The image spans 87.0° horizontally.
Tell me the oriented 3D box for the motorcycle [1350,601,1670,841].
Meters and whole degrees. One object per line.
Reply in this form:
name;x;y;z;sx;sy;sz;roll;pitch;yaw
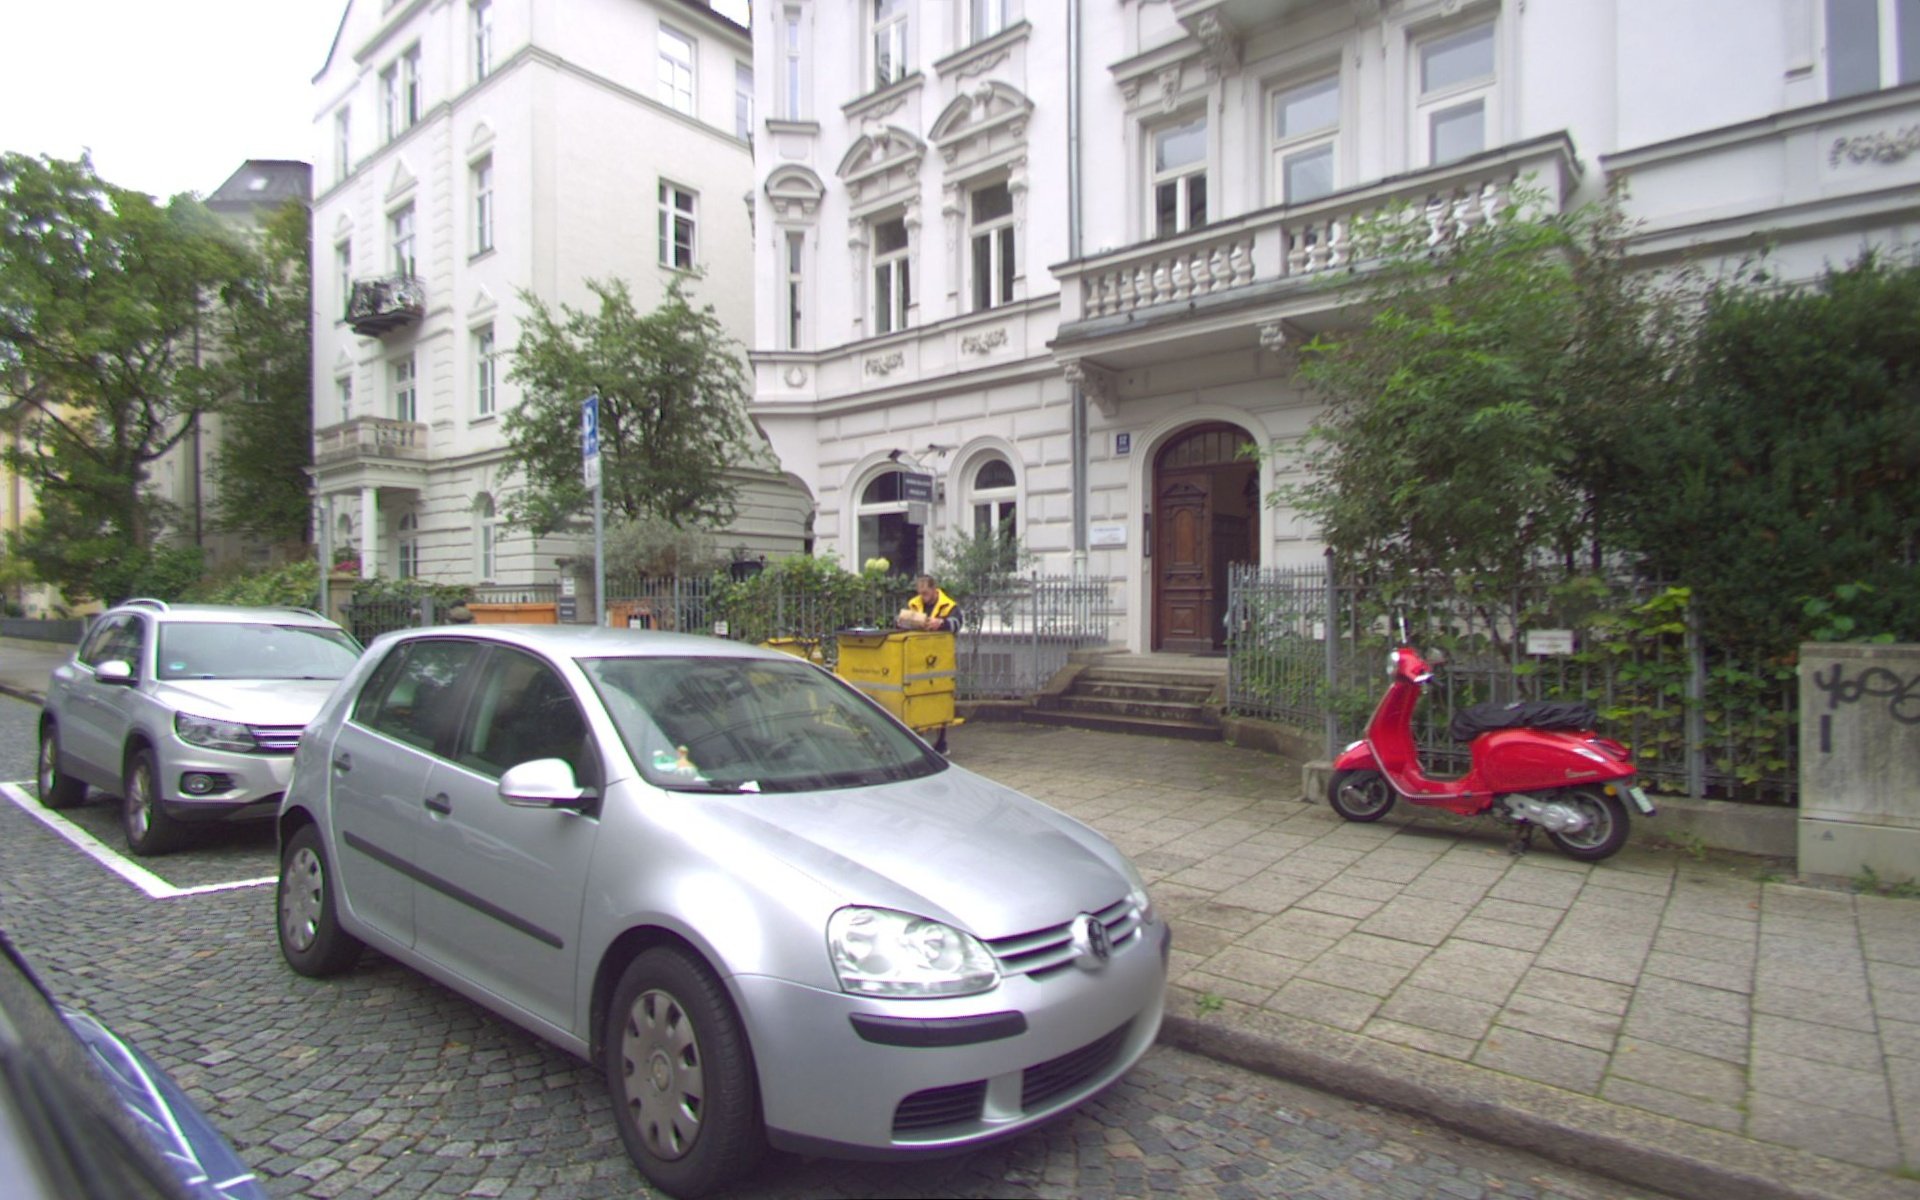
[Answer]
motorcycle;3.062;0.605;5.799;0.326;1.188;1.629;-1;0;-35

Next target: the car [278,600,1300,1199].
car;-0.912;0.723;3.760;3.811;1.404;1.616;-1;0;38

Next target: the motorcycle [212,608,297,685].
motorcycle;-14.220;0.904;20.388;2.242;1.439;0.729;-1;1;37

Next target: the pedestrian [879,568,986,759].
pedestrian;-0.258;0.560;9.314;0.569;1.659;0.822;0;-1;-43

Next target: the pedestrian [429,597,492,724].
pedestrian;-6.684;0.791;13.572;0.655;1.640;0.671;-1;0;-18

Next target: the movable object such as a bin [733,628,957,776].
movable object such as a bin;-1.173;0.887;9.633;0.635;1.174;2.655;-1;0;-44

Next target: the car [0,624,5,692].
car;-22.637;1.193;22.164;4.804;1.430;1.862;-1;-3;39

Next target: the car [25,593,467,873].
car;-5.553;0.766;7.685;4.063;1.584;1.673;-1;0;38

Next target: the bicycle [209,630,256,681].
bicycle;-16.116;1.212;22.396;1.741;1.058;0.353;-1;0;37
